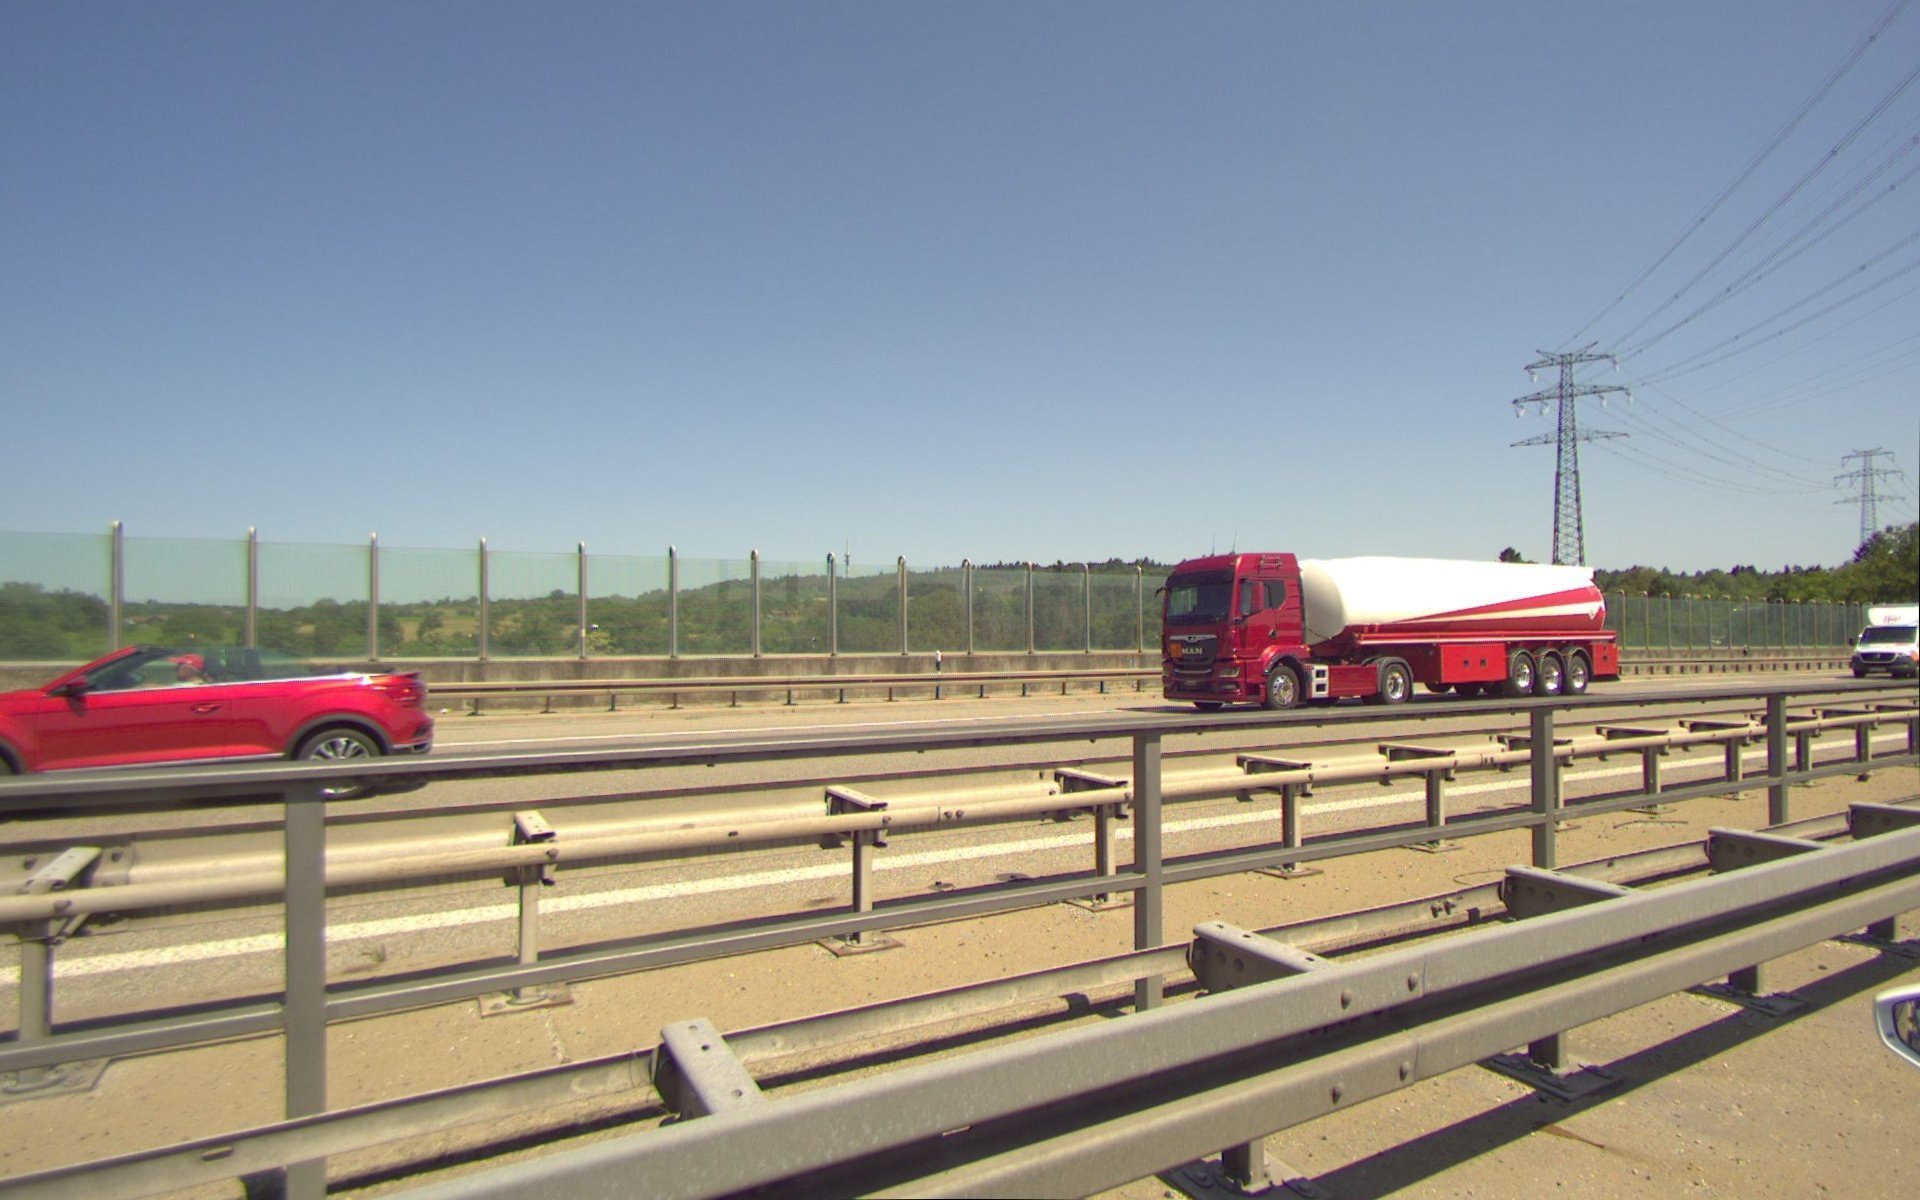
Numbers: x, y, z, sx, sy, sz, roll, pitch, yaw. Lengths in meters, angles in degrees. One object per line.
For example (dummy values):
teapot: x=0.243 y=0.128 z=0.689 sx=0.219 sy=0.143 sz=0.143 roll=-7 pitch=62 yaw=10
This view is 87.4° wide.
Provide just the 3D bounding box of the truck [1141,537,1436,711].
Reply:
truck: x=7.457 y=0.619 z=22.713 sx=6.218 sy=3.459 sz=2.897 roll=2 pitch=-3 yaw=-29

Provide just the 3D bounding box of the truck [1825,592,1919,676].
truck: x=39.599 y=1.507 z=42.009 sx=8.196 sy=3.229 sz=2.552 roll=2 pitch=-4 yaw=-30

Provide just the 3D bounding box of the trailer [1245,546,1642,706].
trailer: x=12.696 y=0.796 z=25.726 sx=11.861 sy=3.422 sz=2.865 roll=2 pitch=-4 yaw=-29

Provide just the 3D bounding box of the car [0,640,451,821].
car: x=-7.034 y=1.130 z=9.414 sx=3.952 sy=1.438 sz=1.774 roll=2 pitch=-4 yaw=-30
